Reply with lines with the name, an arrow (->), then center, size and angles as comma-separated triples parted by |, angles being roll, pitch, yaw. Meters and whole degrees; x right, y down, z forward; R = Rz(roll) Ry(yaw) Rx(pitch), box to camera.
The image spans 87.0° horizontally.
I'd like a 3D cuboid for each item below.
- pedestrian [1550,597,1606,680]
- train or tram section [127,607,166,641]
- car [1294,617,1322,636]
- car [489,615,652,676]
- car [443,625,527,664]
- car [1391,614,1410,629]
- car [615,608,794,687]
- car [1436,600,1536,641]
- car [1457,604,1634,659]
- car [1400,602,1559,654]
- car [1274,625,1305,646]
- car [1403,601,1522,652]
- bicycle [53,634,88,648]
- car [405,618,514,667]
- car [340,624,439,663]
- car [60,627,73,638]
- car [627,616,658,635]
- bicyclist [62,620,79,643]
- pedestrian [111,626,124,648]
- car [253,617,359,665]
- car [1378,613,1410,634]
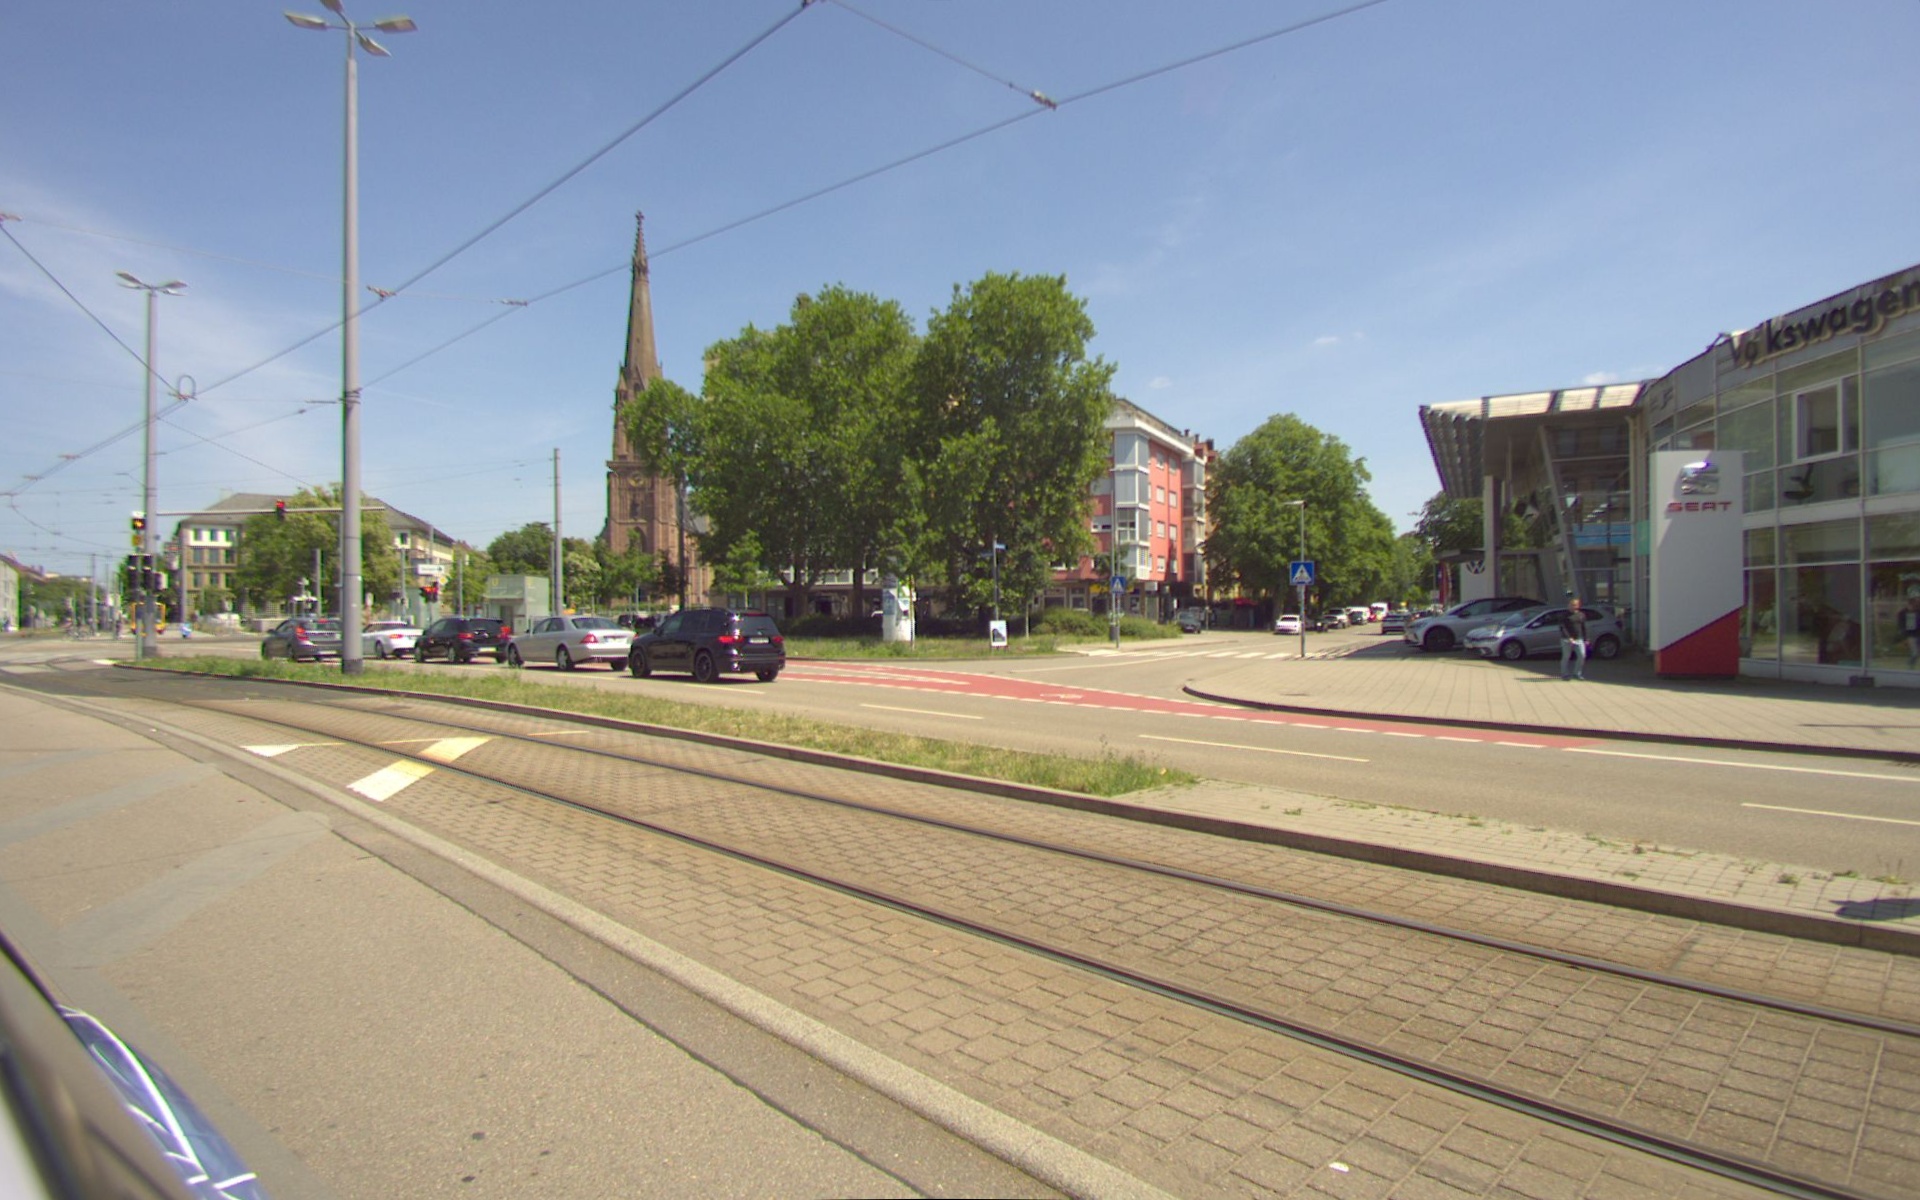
pedestrian -> 12.762, 0.780, 20.903 | 0.820, 1.654, 0.720 | -2, -1, 43
train or tram section -> -81.549, 2.358, 101.386 | 2.800, 3.238, 9.123 | 0, -1, -41
car -> 28.166, 2.137, 81.881 | 1.537, 1.444, 3.962 | -1, -1, 28
car -> -10.924, 1.223, 28.189 | 5.127, 1.542, 1.973 | -1, -3, 40
car -> -20.564, 1.906, 43.762 | 4.395, 1.610, 1.518 | -2, -3, 39
car -> 54.426, 2.683, 124.980 | 1.773, 1.807, 3.961 | -1, -1, 28
car -> -5.947, 1.048, 23.255 | 4.525, 1.639, 1.802 | -2, -2, 43
car -> 24.629, 0.981, 47.485 | 4.079, 1.846, 1.646 | -1, -1, 28
car -> 16.440, 0.891, 28.562 | 4.004, 1.468, 1.500 | -1, -1, 5
car -> 16.330, 0.874, 32.011 | 4.150, 1.431, 1.604 | -3, -1, 16
car -> 24.221, 2.568, 74.328 | 1.537, 1.444, 3.962 | -1, -1, 28
car -> 16.984, 0.893, 34.297 | 3.296, 1.630, 1.423 | -1, -1, 11
bicycle -> -65.308, 2.993, 74.326 | 0.527, 0.986, 1.884 | -1, -1, 35
car -> -15.879, 1.324, 32.058 | 3.900, 1.473, 1.654 | -2, -2, 39
car -> -20.588, 1.531, 36.446 | 4.199, 1.309, 1.690 | -1, -2, 39
car -> -134.356, 4.889, 152.189 | 1.419, 1.608, 4.006 | 0, -1, -41
car -> -22.179, 1.772, 70.709 | 1.957, 1.163, 0.504 | -3, 1, -33
bicyclist -> -65.374, 2.305, 74.386 | 0.527, 1.701, 0.803 | -2, -1, 35
pedestrian -> -63.879, 2.808, 76.760 | 0.447, 1.684, 0.651 | -1, -1, 24
car -> -21.764, 1.356, 33.616 | 4.327, 1.491, 1.824 | -2, -3, 41
car -> 32.734, 1.764, 76.324 | 1.822, 1.569, 3.961 | -1, -1, 29
